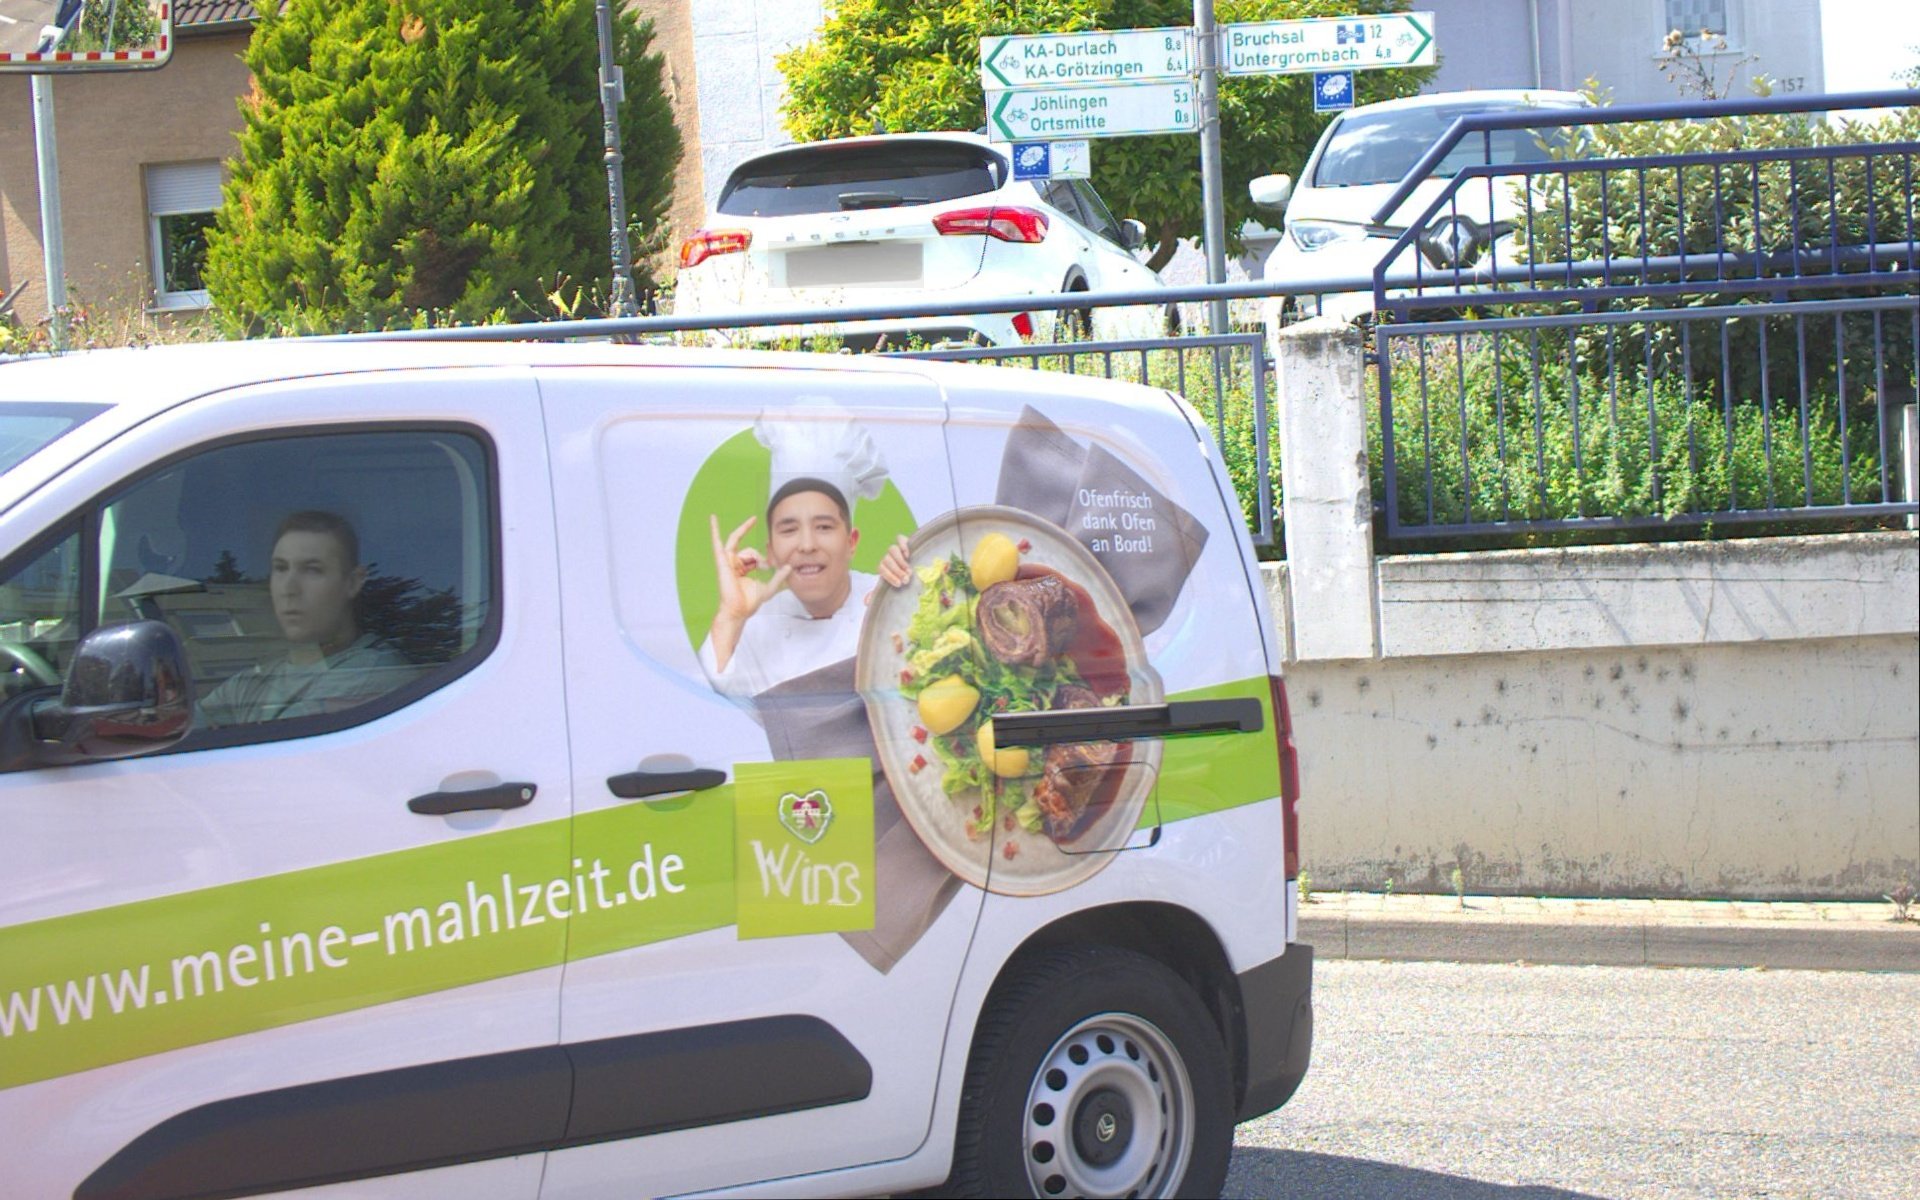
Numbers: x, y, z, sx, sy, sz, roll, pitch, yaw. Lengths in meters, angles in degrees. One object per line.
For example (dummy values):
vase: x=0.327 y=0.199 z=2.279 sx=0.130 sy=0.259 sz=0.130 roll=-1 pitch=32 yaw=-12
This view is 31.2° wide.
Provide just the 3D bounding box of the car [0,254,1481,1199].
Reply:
car: x=-1.331 y=0.372 z=6.210 sx=4.546 sy=1.848 sz=1.817 roll=-1 pitch=3 yaw=-38

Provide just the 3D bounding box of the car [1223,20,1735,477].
car: x=2.496 y=-1.485 z=15.851 sx=1.994 sy=1.791 sz=4.195 roll=1 pitch=2 yaw=12

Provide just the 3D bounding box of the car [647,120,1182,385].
car: x=-0.101 y=-1.593 z=16.384 sx=1.826 sy=1.016 sz=3.458 roll=1 pitch=2 yaw=12
